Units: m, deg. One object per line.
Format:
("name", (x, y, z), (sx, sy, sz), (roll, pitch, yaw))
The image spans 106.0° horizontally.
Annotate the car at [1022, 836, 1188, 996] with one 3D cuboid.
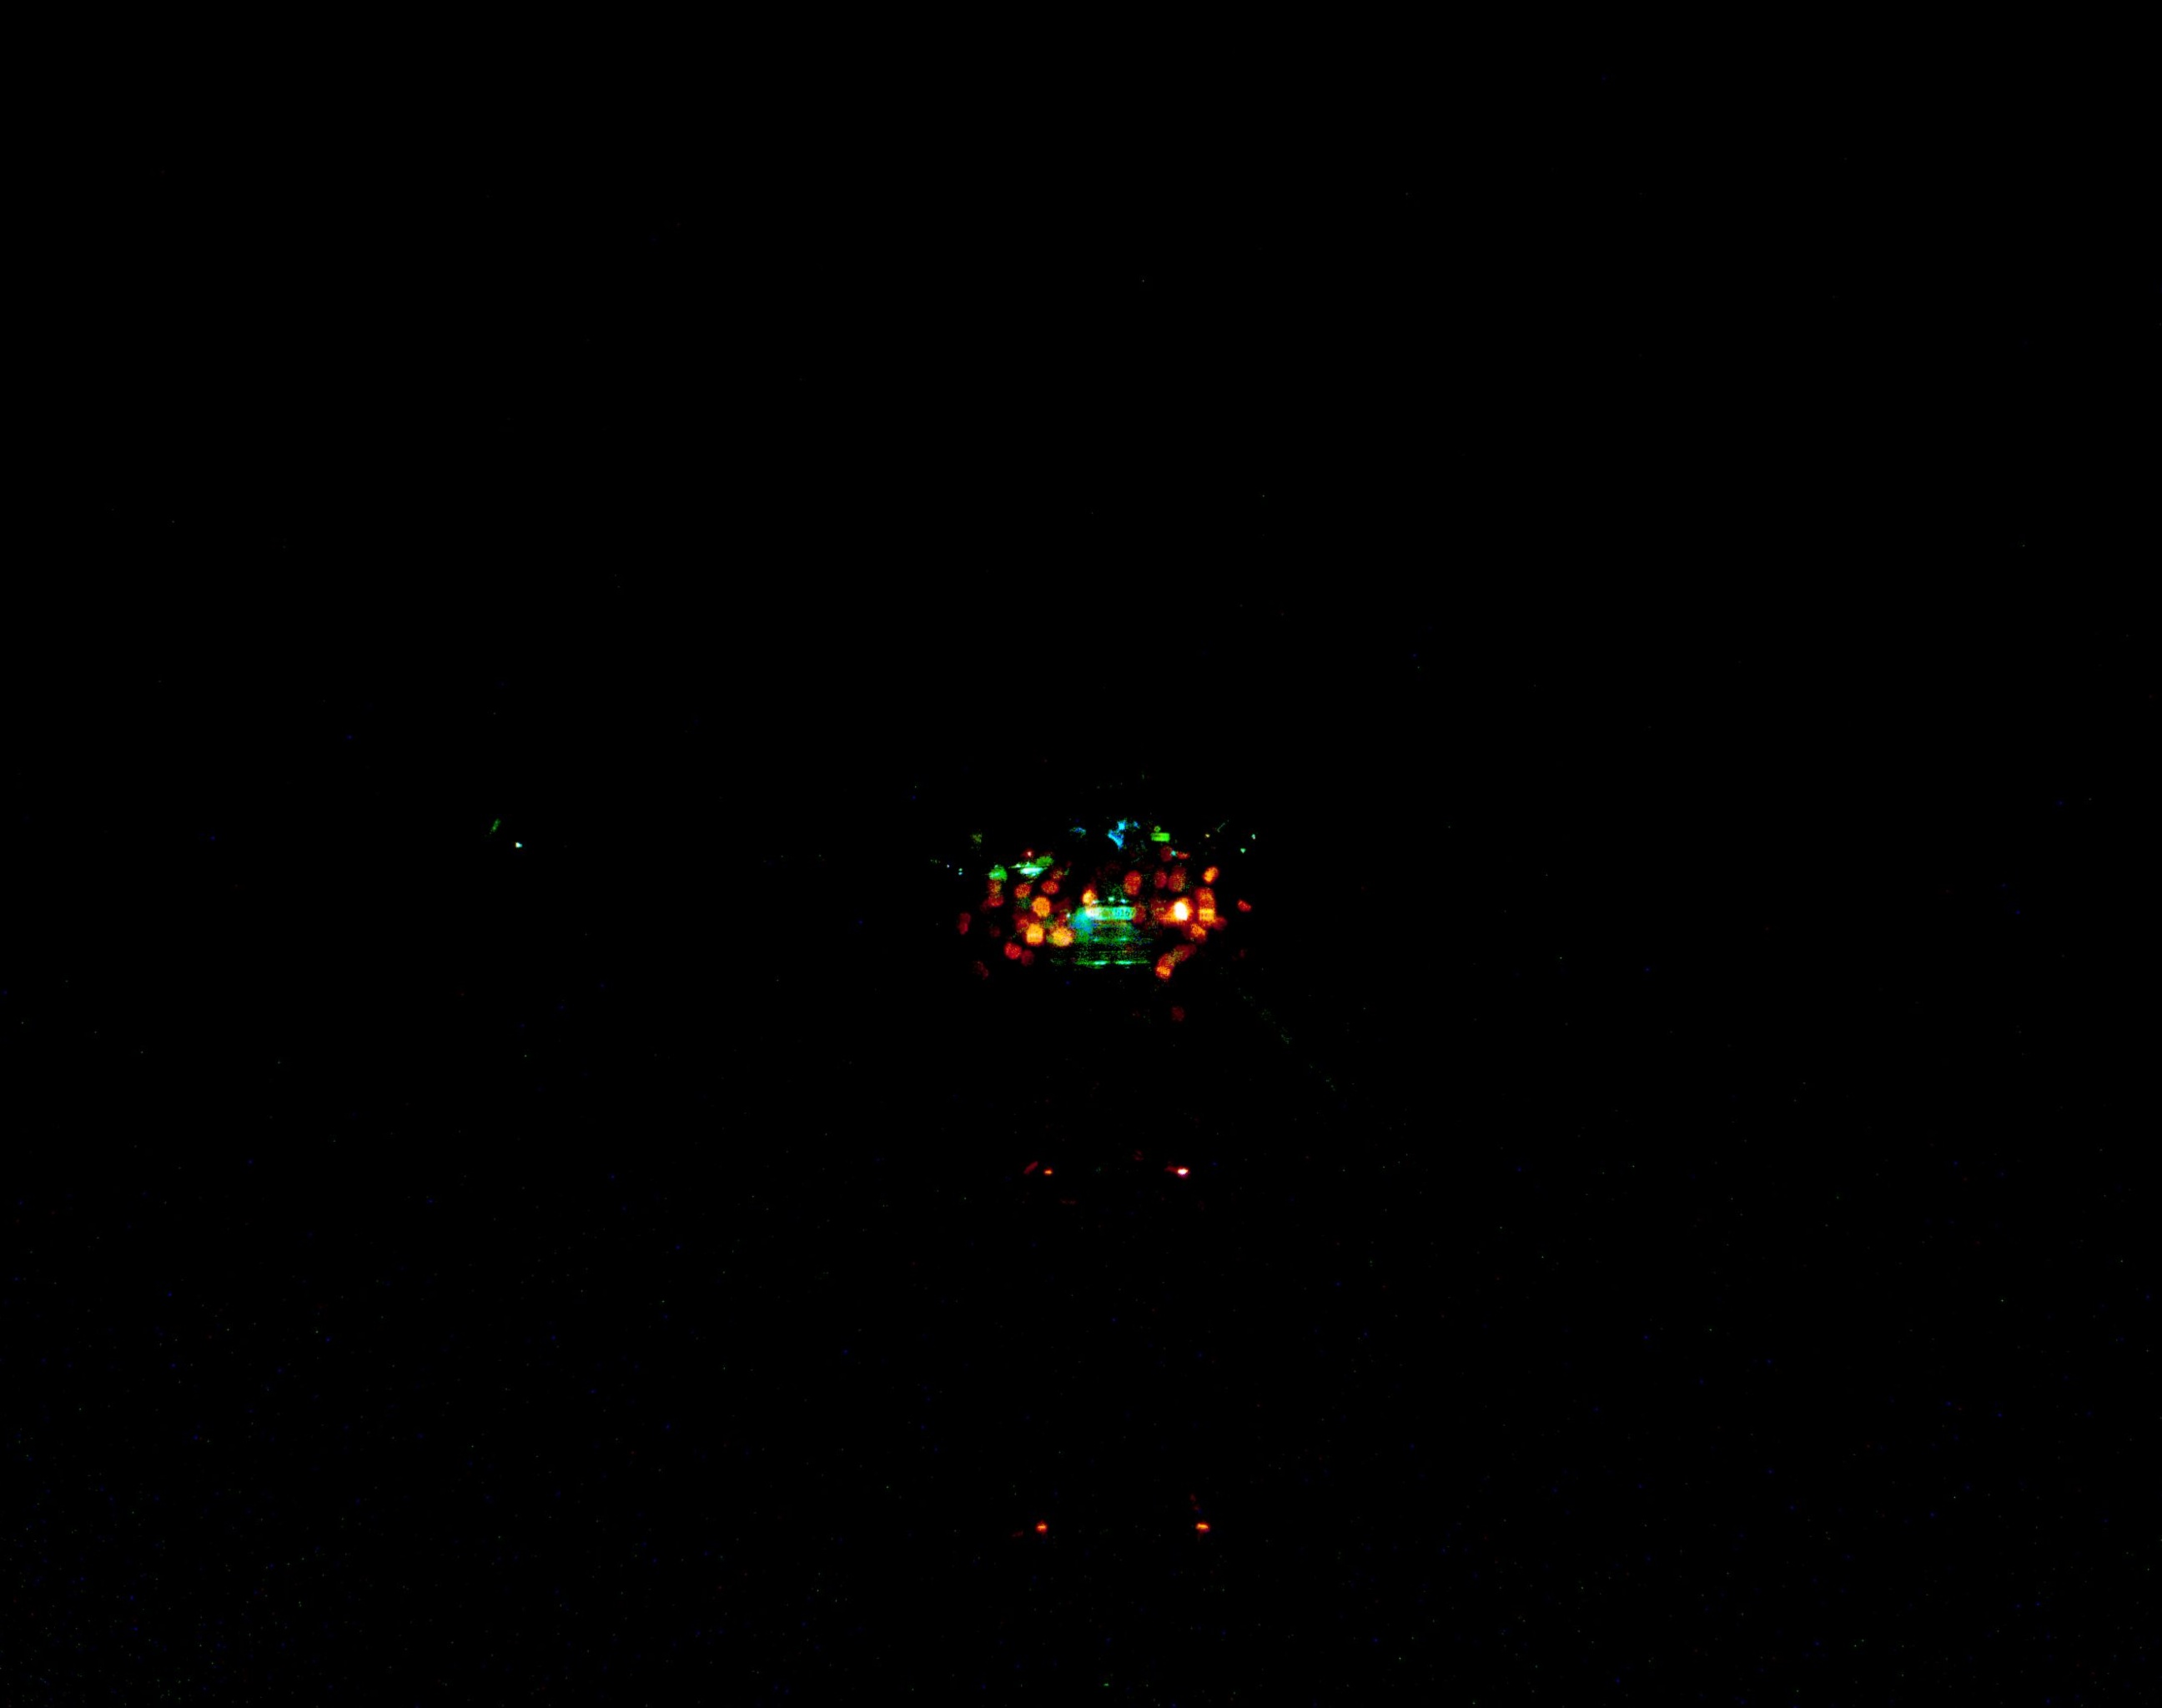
("car", (0.345, 0.700, 10.821), (1.768, 1.712, 4.002), (-1, -1, 2))
